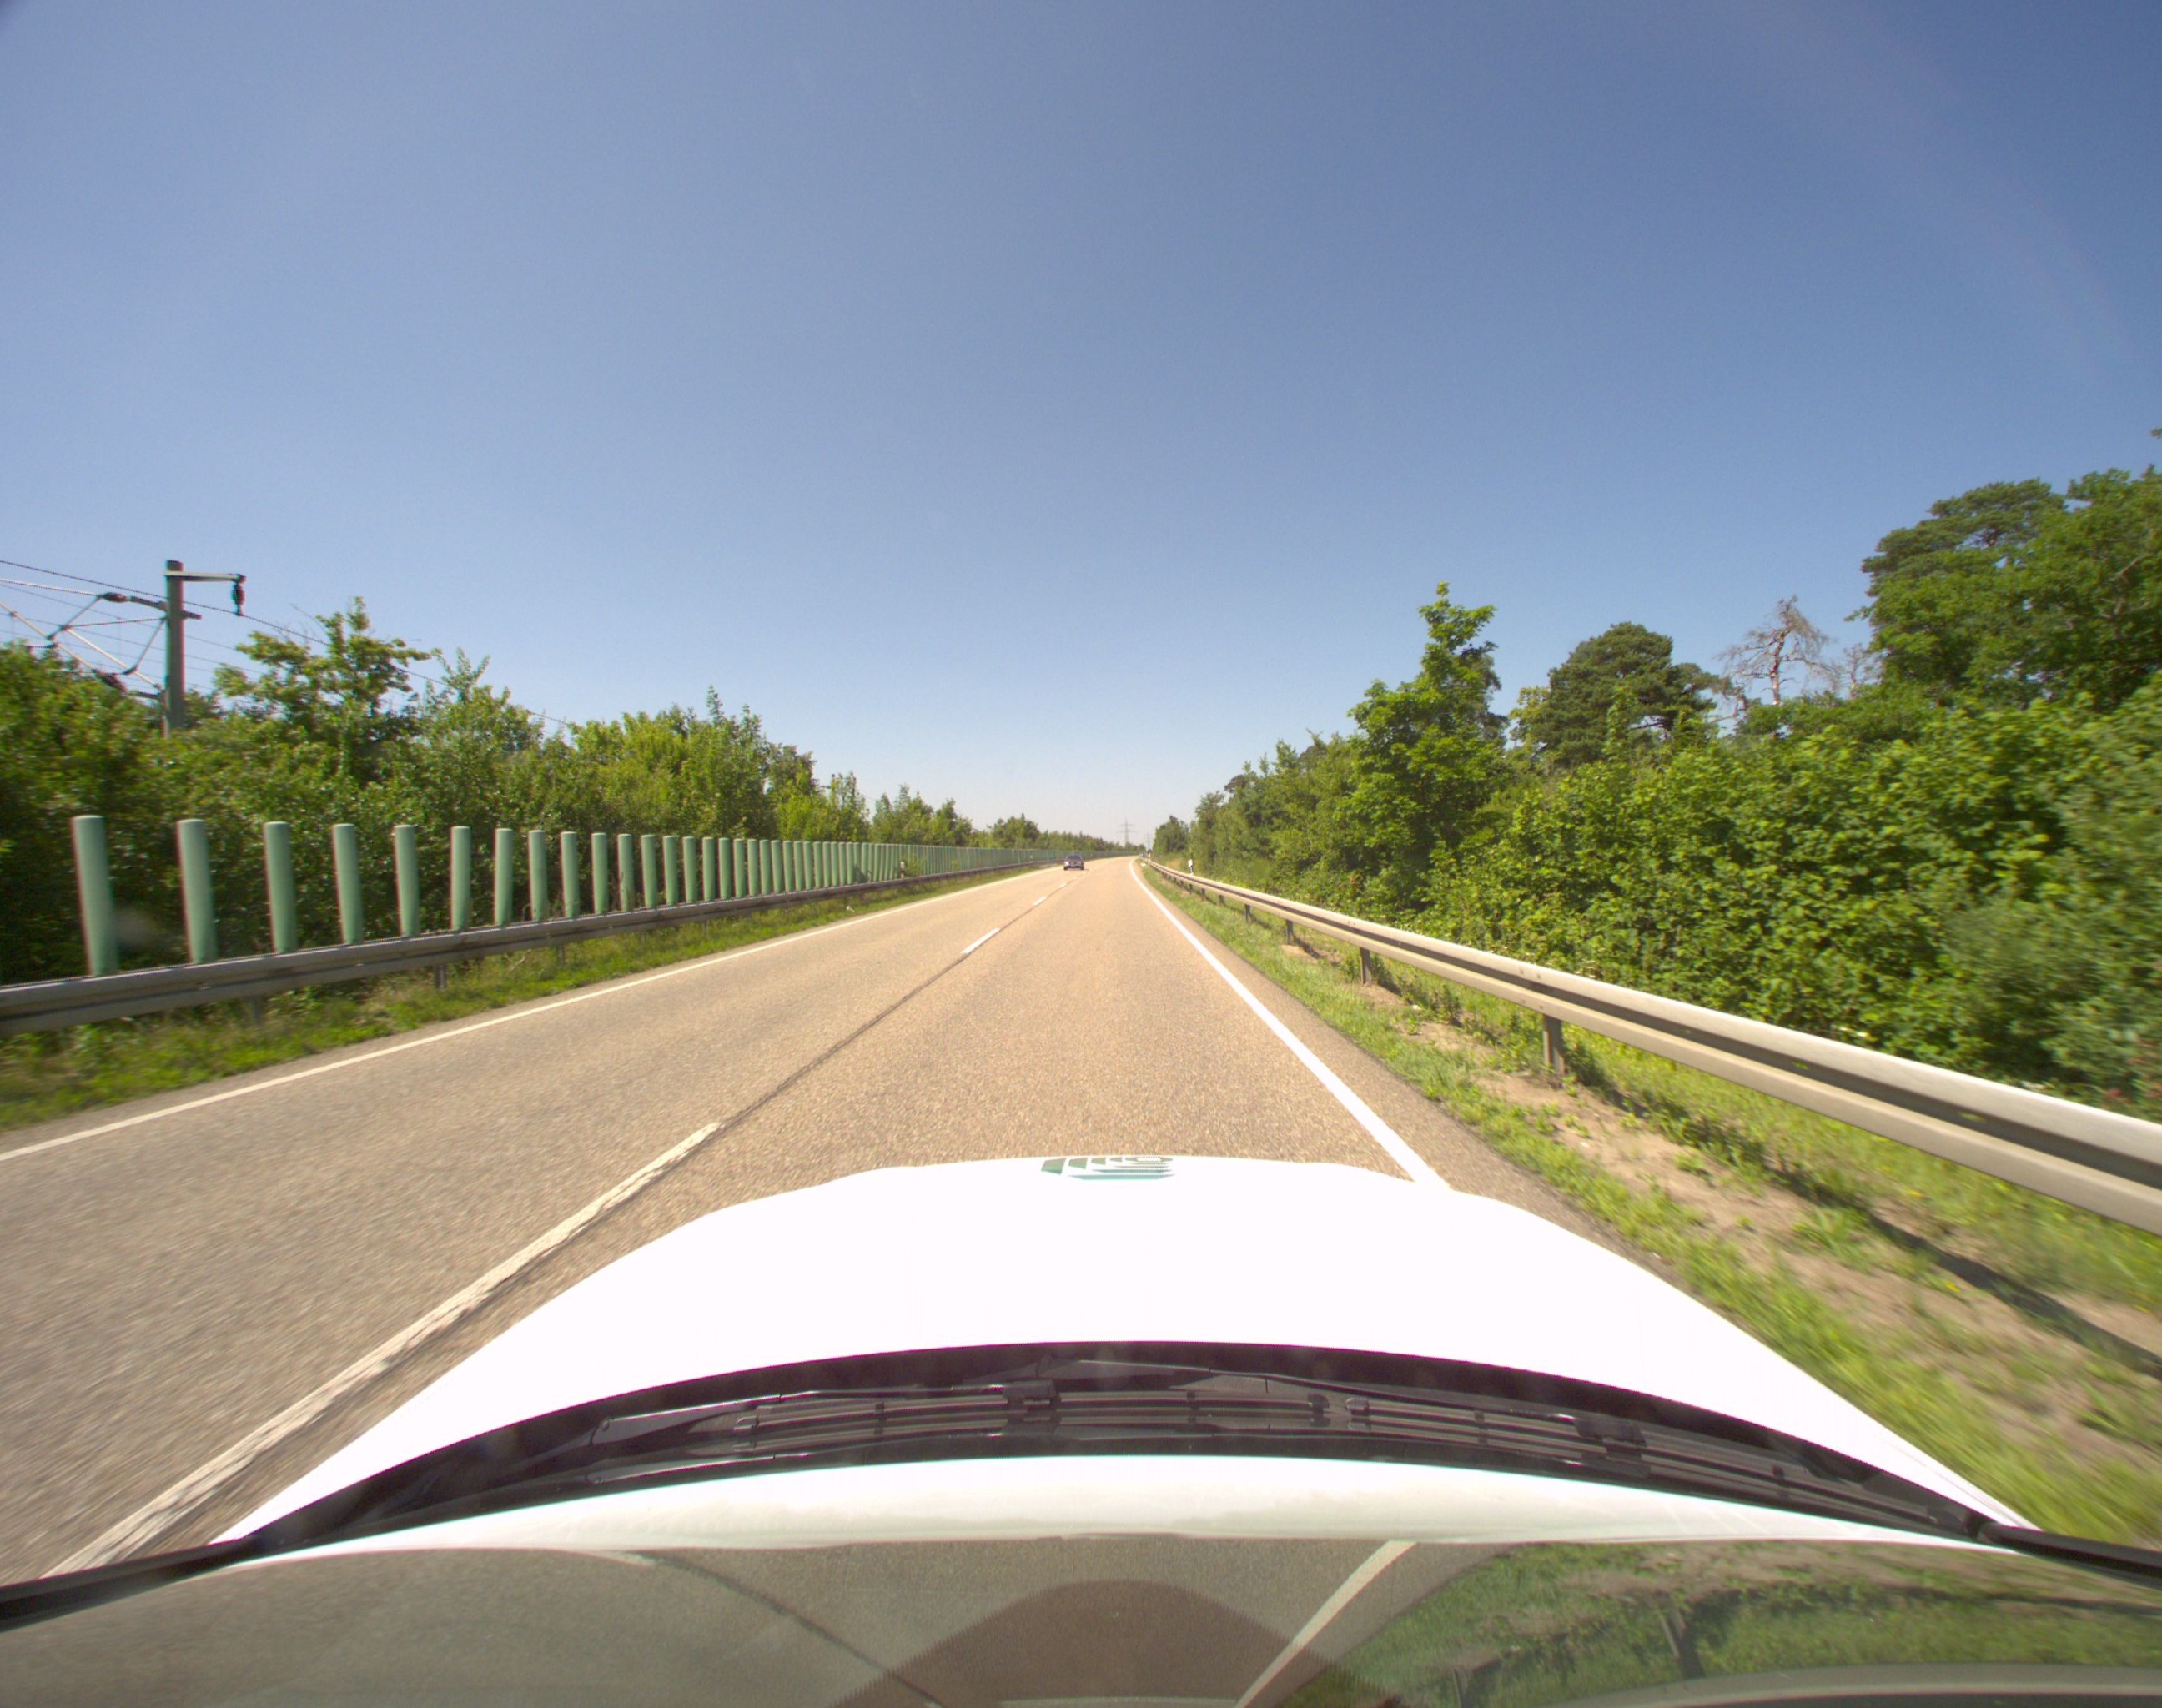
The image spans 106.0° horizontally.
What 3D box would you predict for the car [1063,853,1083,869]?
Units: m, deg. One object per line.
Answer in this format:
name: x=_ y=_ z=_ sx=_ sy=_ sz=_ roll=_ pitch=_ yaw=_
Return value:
car: x=-0.709 y=0.639 z=74.366 sx=1.780 sy=1.371 sz=3.897 roll=-1 pitch=0 yaw=1
